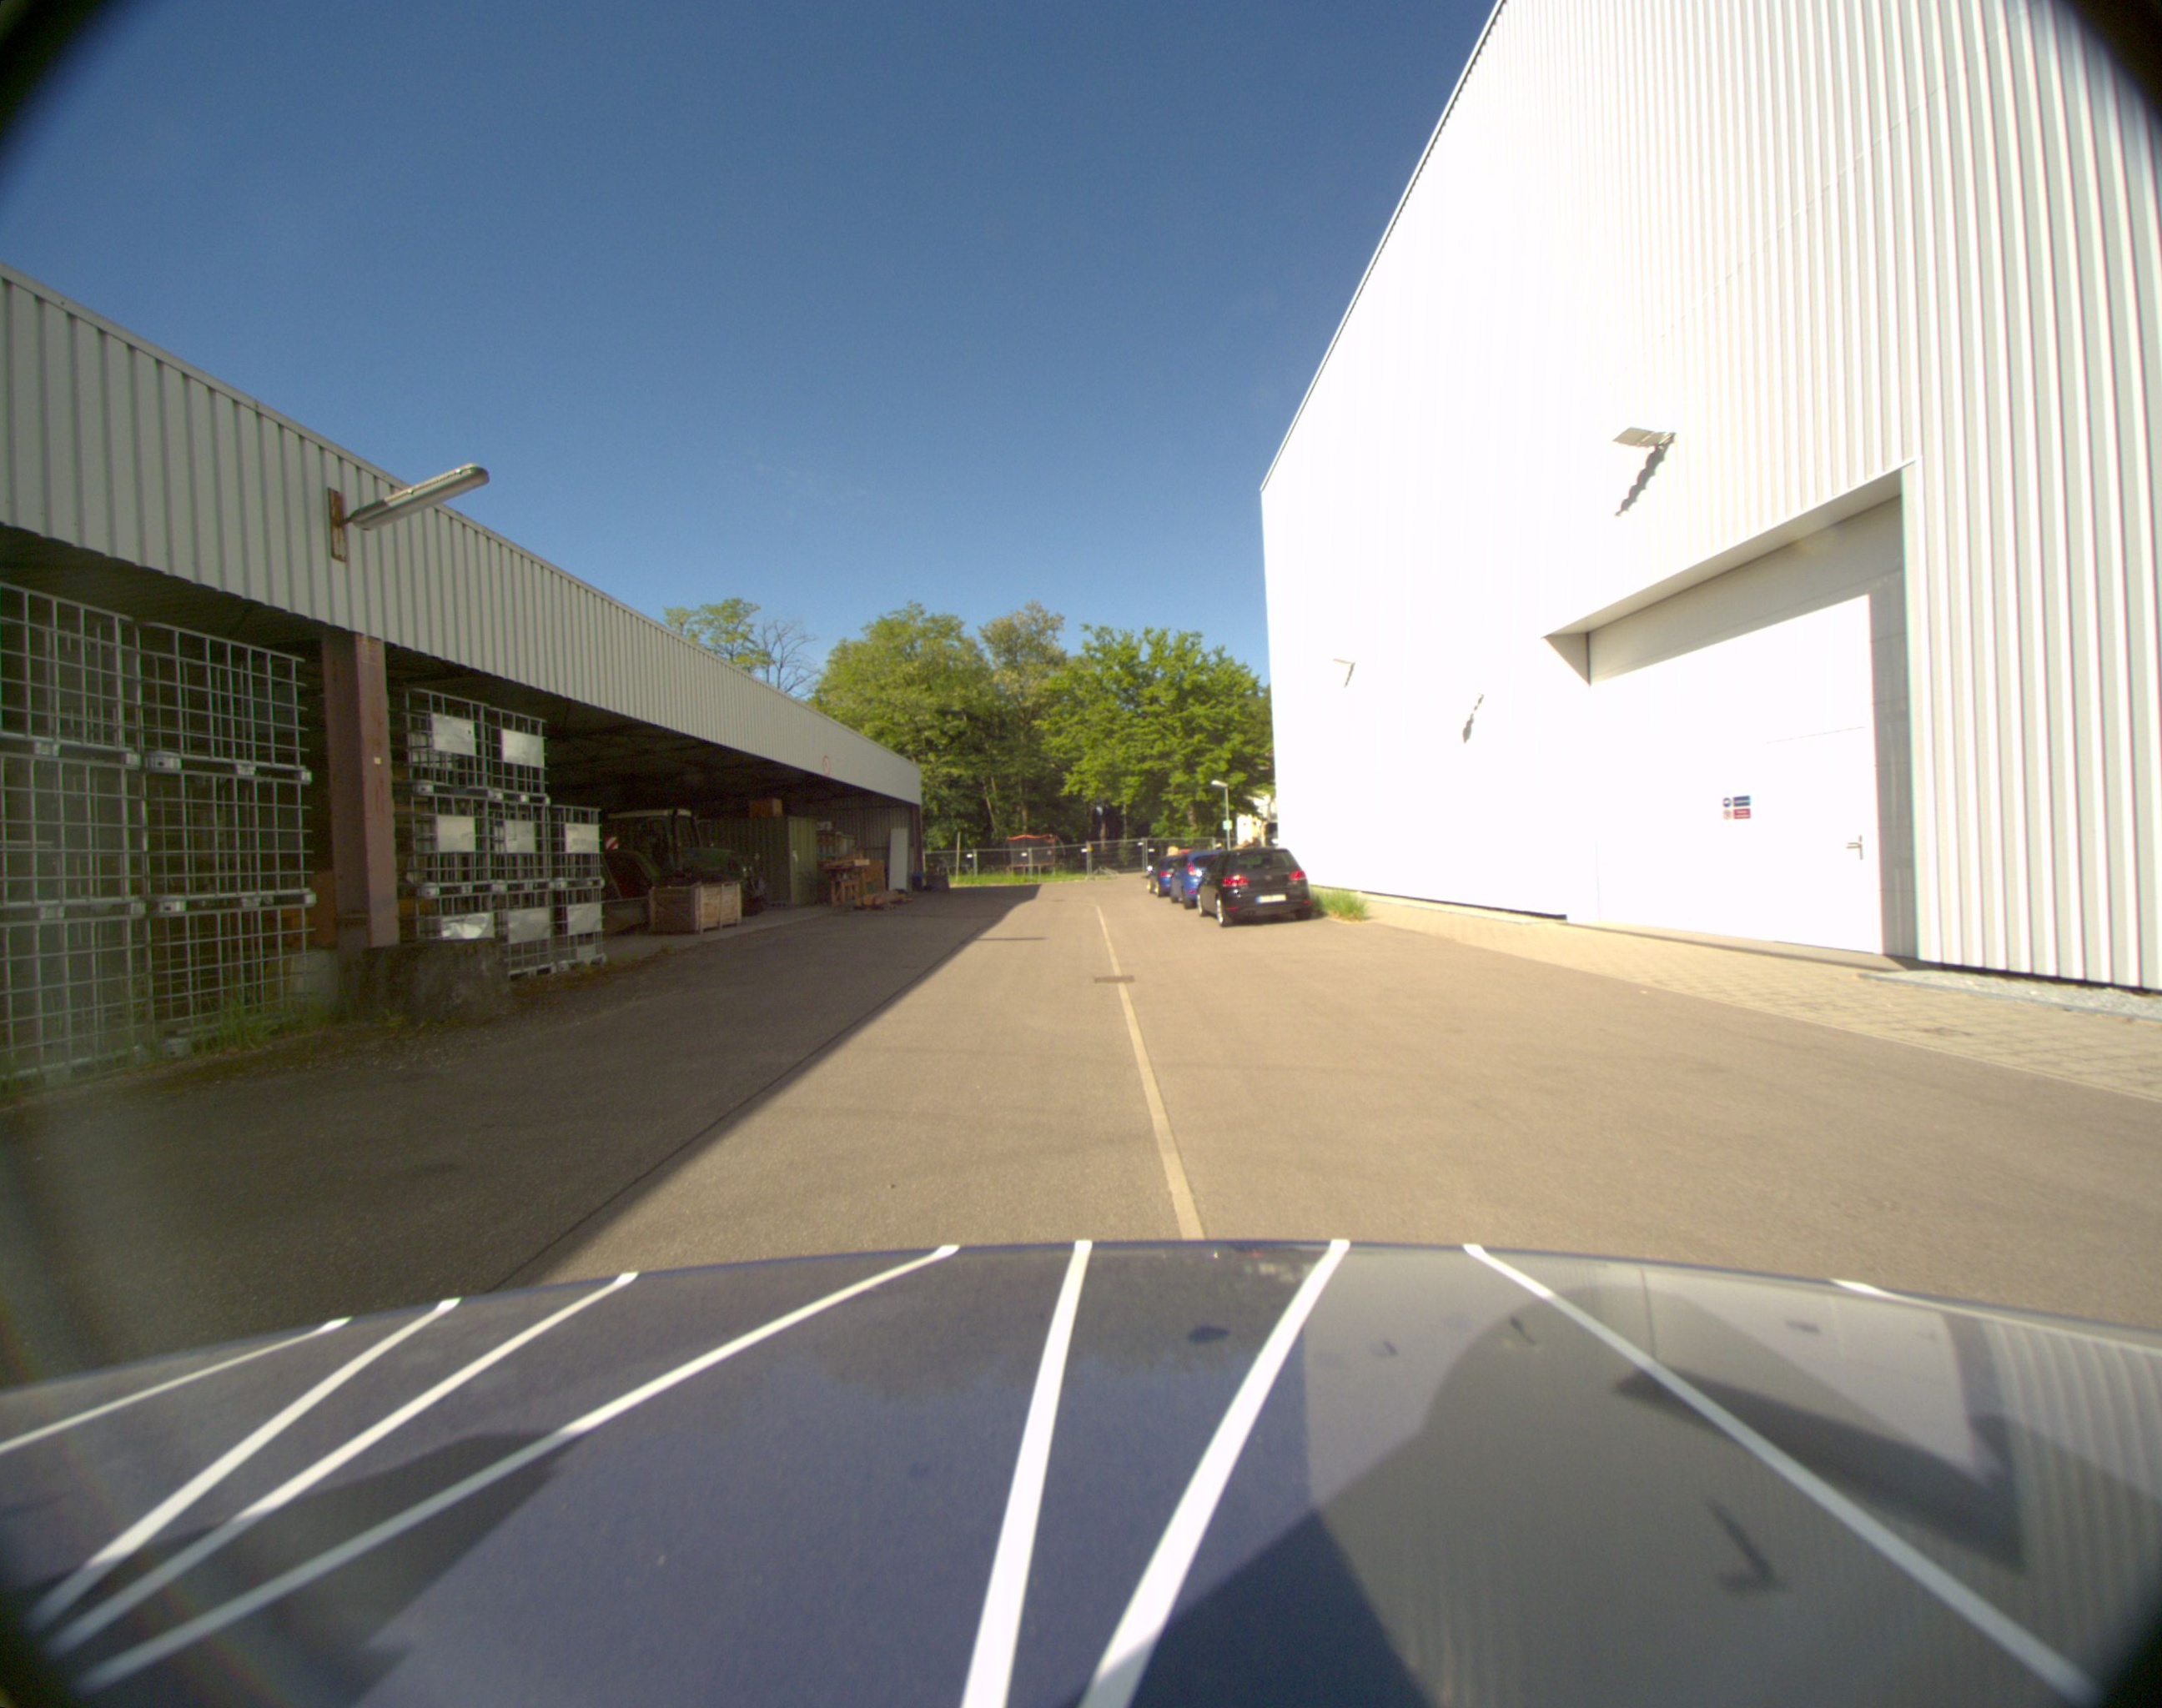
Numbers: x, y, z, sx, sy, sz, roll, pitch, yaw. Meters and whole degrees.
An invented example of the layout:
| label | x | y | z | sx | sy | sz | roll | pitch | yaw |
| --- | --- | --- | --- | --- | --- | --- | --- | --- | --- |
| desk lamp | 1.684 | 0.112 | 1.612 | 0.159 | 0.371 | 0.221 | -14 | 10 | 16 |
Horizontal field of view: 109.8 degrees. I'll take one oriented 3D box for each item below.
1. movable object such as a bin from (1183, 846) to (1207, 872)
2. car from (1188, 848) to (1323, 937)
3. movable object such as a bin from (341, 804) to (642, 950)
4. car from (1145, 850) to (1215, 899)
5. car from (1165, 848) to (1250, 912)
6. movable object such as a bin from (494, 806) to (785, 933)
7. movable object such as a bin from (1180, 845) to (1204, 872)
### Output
| label | x | y | z | sx | sy | sz | roll | pitch | yaw |
| --- | --- | --- | --- | --- | --- | --- | --- | --- | --- |
| movable object such as a bin | 6.267 | 0.261 | 41.793 | 1.141 | 1.426 | 1.289 | -1 | 0 | 1 |
| car | 3.441 | 0.697 | 15.804 | 1.760 | 1.437 | 4.315 | -5 | 0 | 1 |
| movable object such as a bin | -12.647 | 0.472 | 16.603 | 4.537 | 2.814 | 2.497 | -2 | 0 | 1 |
| car | 3.301 | 0.671 | 26.060 | 1.716 | 1.440 | 3.798 | -4 | 0 | -1 |
| car | 3.325 | 0.651 | 20.548 | 1.552 | 1.480 | 3.522 | -4 | 0 | -1 |
| movable object such as a bin | -11.281 | 0.369 | 19.869 | 5.848 | 2.908 | 2.820 | -2 | 1 | 1 |
| movable object such as a bin | 6.291 | 0.259 | 43.156 | 1.141 | 1.469 | 1.280 | -1 | 0 | 1 |
